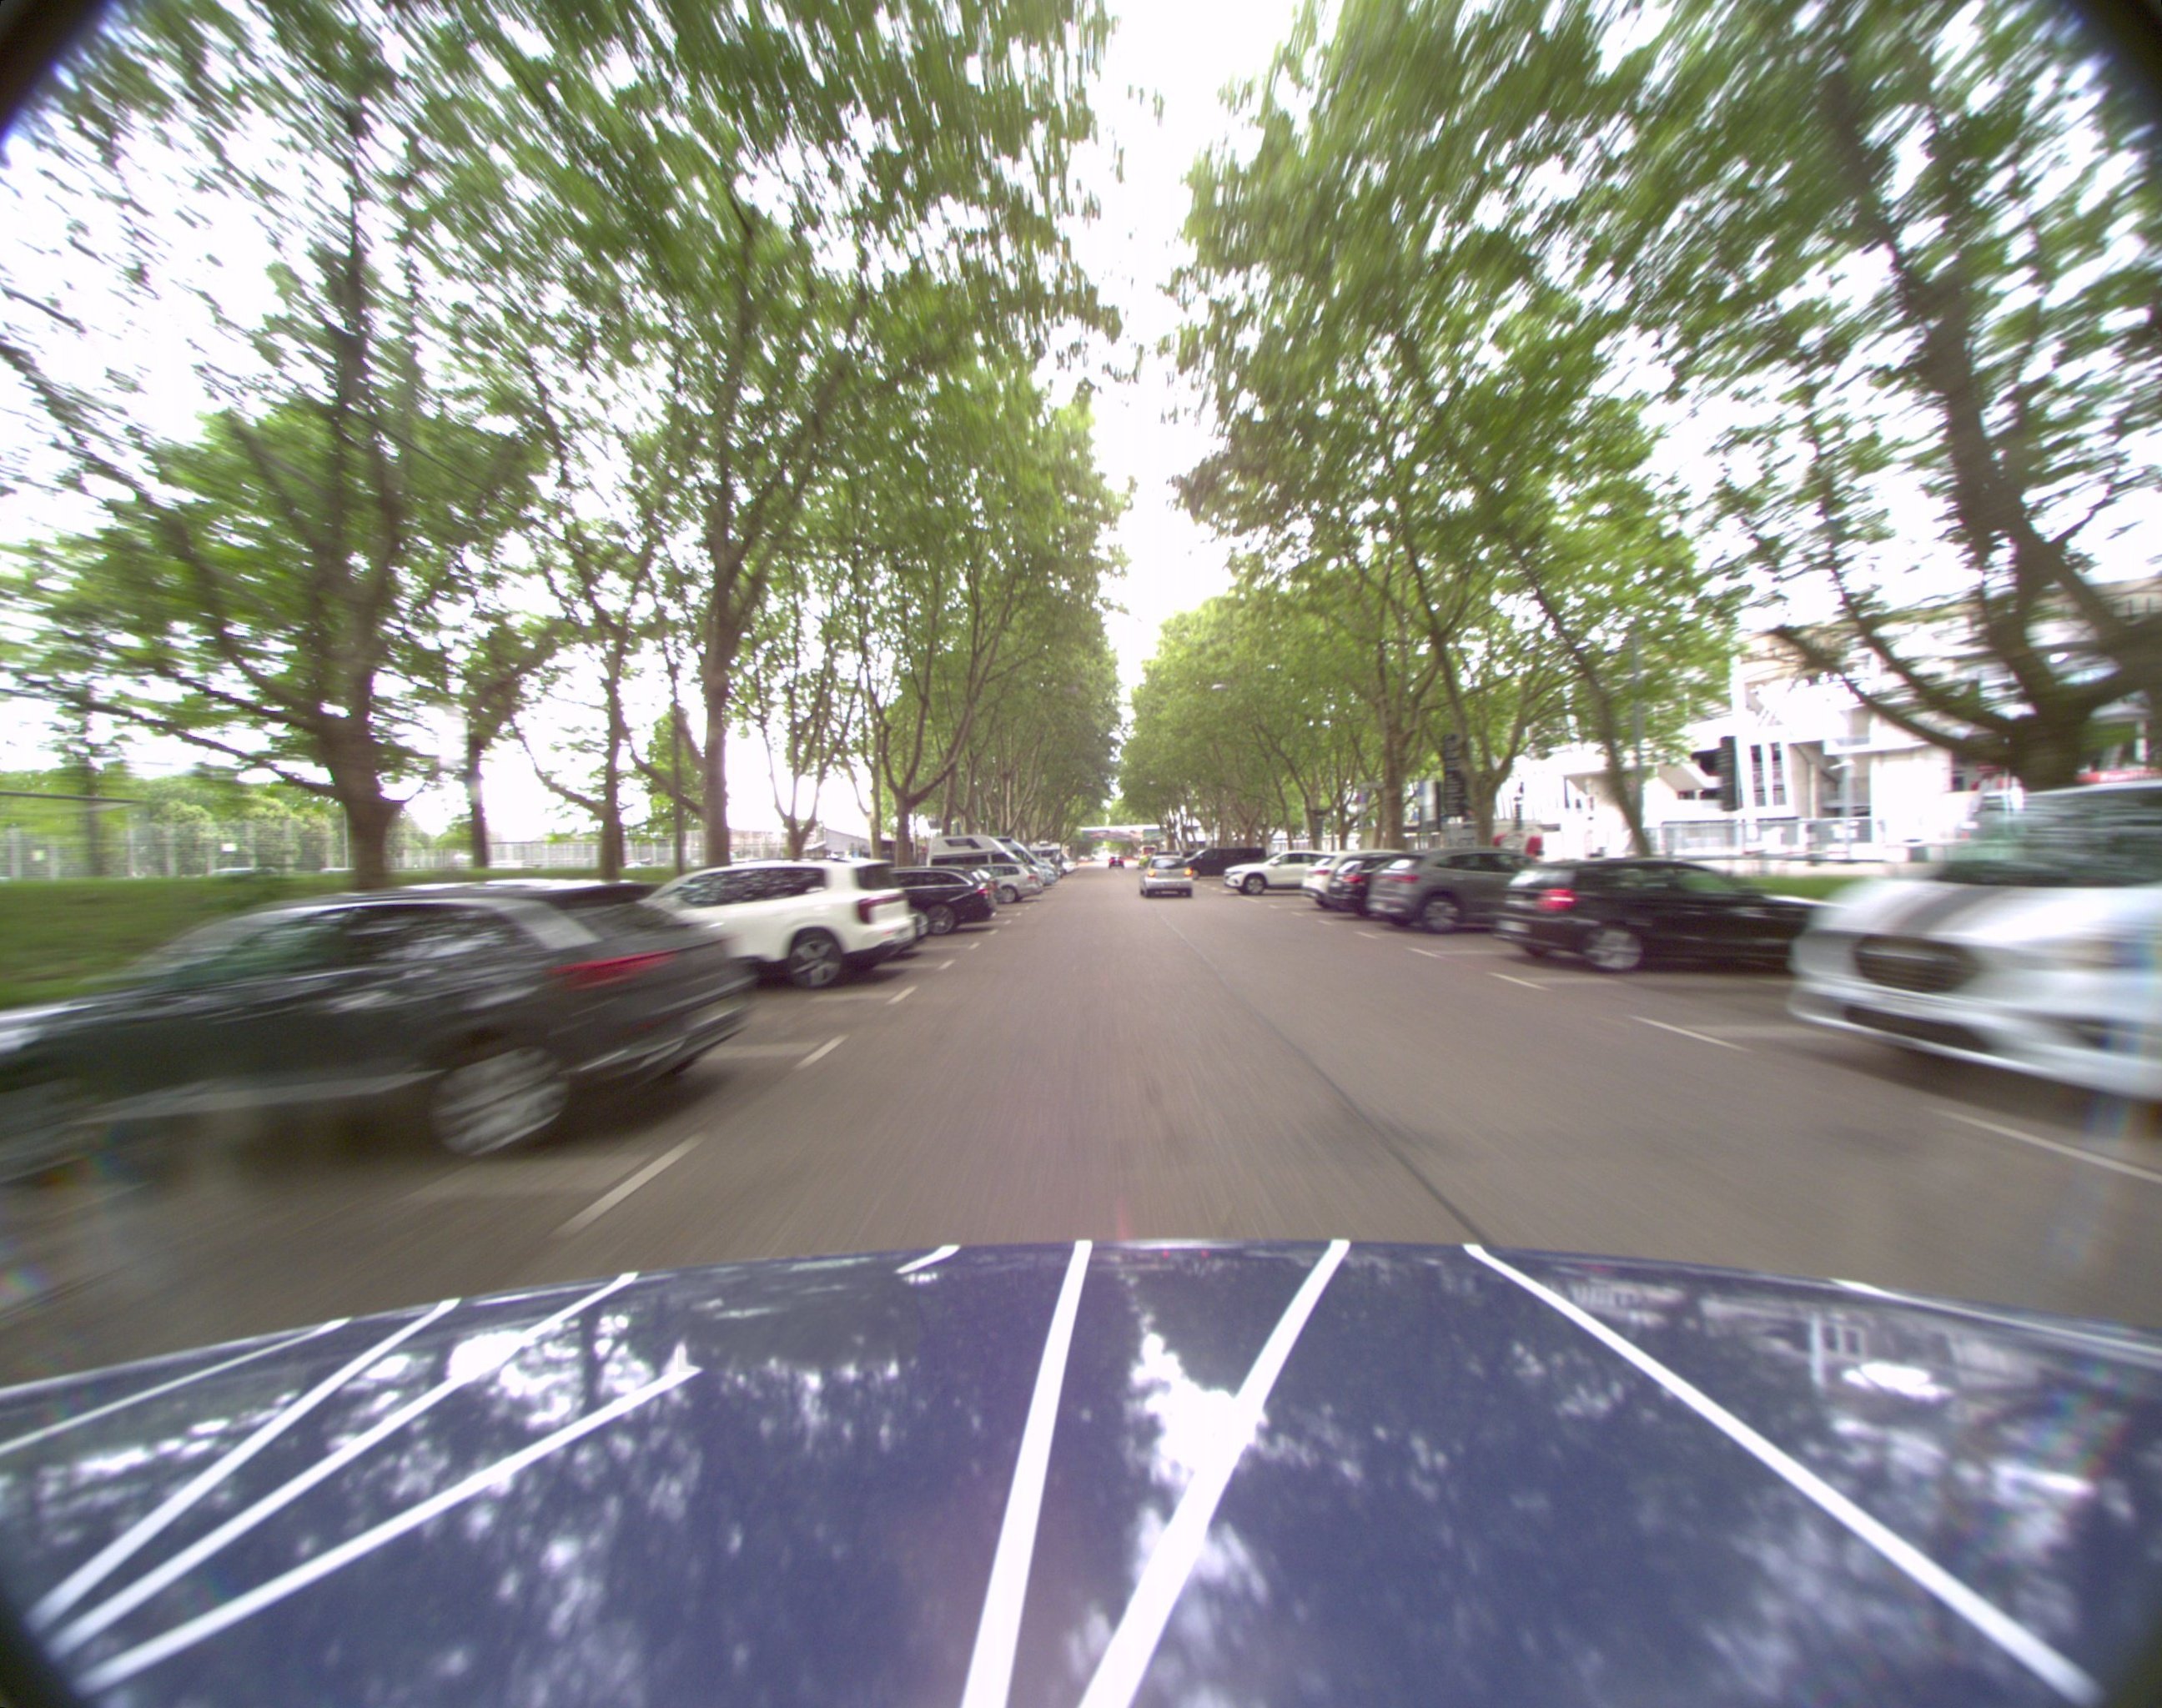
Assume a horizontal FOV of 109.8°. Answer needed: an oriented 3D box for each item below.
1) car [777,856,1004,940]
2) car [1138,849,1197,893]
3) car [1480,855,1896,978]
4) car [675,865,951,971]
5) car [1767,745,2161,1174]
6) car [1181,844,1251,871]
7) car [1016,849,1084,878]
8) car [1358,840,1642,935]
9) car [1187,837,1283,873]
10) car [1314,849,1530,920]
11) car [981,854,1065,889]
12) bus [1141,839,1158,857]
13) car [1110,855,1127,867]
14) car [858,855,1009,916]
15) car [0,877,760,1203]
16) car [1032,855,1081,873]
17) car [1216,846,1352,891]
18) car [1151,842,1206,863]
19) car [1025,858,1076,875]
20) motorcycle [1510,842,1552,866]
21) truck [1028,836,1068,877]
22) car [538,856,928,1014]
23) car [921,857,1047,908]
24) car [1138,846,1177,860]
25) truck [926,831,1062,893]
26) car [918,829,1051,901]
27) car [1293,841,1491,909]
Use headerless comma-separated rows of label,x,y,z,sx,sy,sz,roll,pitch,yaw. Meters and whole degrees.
car,-4.103,0.935,16.877,4.513,1.517,1.703,-3,1,0
car,3.077,0.562,27.568,1.693,1.463,3.839,0,0,0
car,7.645,0.736,9.885,3.996,1.405,1.683,1,1,2
car,-4.610,1.081,13.446,4.194,1.548,1.701,-3,1,5
car,7.377,0.482,4.458,4.905,2.007,1.919,0,1,1
car,9.405,0.260,53.345,4.663,1.809,1.807,1,-1,4
car,-3.297,0.971,81.036,6.903,2.679,2.125,-3,1,-9
car,7.861,0.599,14.596,4.351,1.658,2.000,1,1,0
car,9.231,0.076,45.908,5.449,2.115,1.940,0,0,0
car,7.528,0.650,17.062,3.997,1.467,1.842,1,1,0
car,-3.200,0.960,42.508,4.350,1.608,1.804,-4,1,4
bus,12.477,-1.056,139.518,2.657,3.136,12.370,1,1,3
car,4.376,0.777,89.249,1.658,1.356,4.111,1,0,-2
car,-4.312,0.913,22.626,4.054,1.517,1.814,-3,1,0
car,-4.422,1.013,4.786,3.997,1.477,1.694,-3,1,0
car,-2.368,0.966,72.595,4.376,1.437,1.610,-3,1,-18
car,7.306,0.497,27.681,4.391,1.587,2.000,0,1,0
car,9.102,-0.162,71.182,4.917,1.913,2.208,-1,0,2
car,-2.671,1.105,67.506,4.330,1.294,1.700,-3,1,2
motorcycle,22.156,0.001,37.424,1.659,1.136,0.739,-1,1,5
truck,-2.692,0.151,60.187,2.466,2.921,7.533,-3,0,-7
car,-4.537,1.021,10.316,4.394,1.745,1.801,-3,1,4
car,-3.438,1.017,27.379,4.129,1.421,1.703,-5,1,3
car,9.091,-0.128,90.777,4.526,1.608,1.758,-2,1,4
truck,-4.225,0.382,37.563,6.308,2.699,2.098,-3,1,3
car,-4.035,0.471,32.464,5.241,2.674,1.957,-3,1,2
car,8.028,0.524,19.927,4.351,1.658,2.000,1,1,0
